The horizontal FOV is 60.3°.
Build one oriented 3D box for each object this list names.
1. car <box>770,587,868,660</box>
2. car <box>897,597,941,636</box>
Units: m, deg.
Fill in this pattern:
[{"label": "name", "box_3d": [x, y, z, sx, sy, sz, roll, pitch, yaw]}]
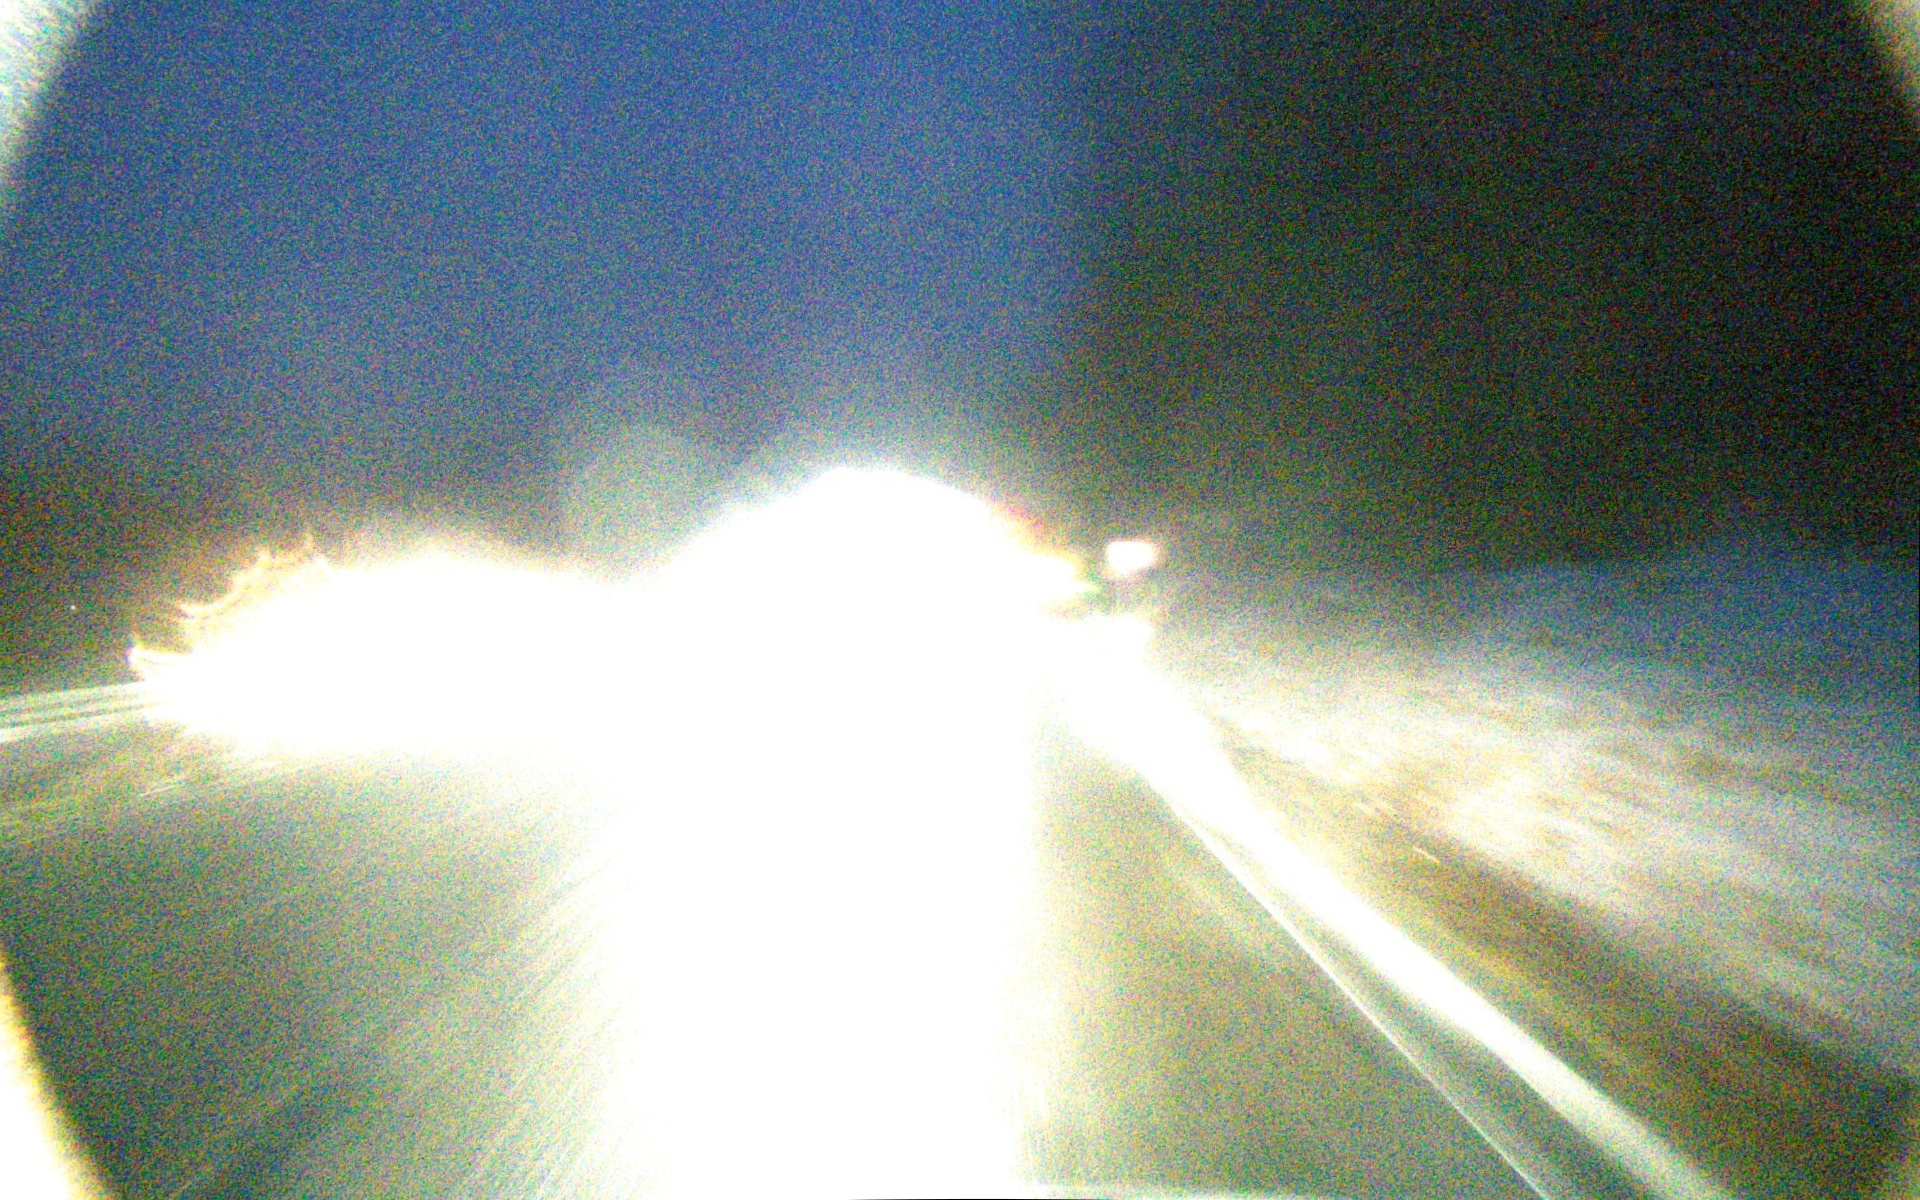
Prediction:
[{"label": "car", "box_3d": [-2.883, 0.456, 34.477, 1.704, 1.427, 3.861, 0, 0, 0]}, {"label": "car", "box_3d": [-1.851, 0.724, 75.350, 1.744, 1.696, 4.473, 0, 0, 2]}]
